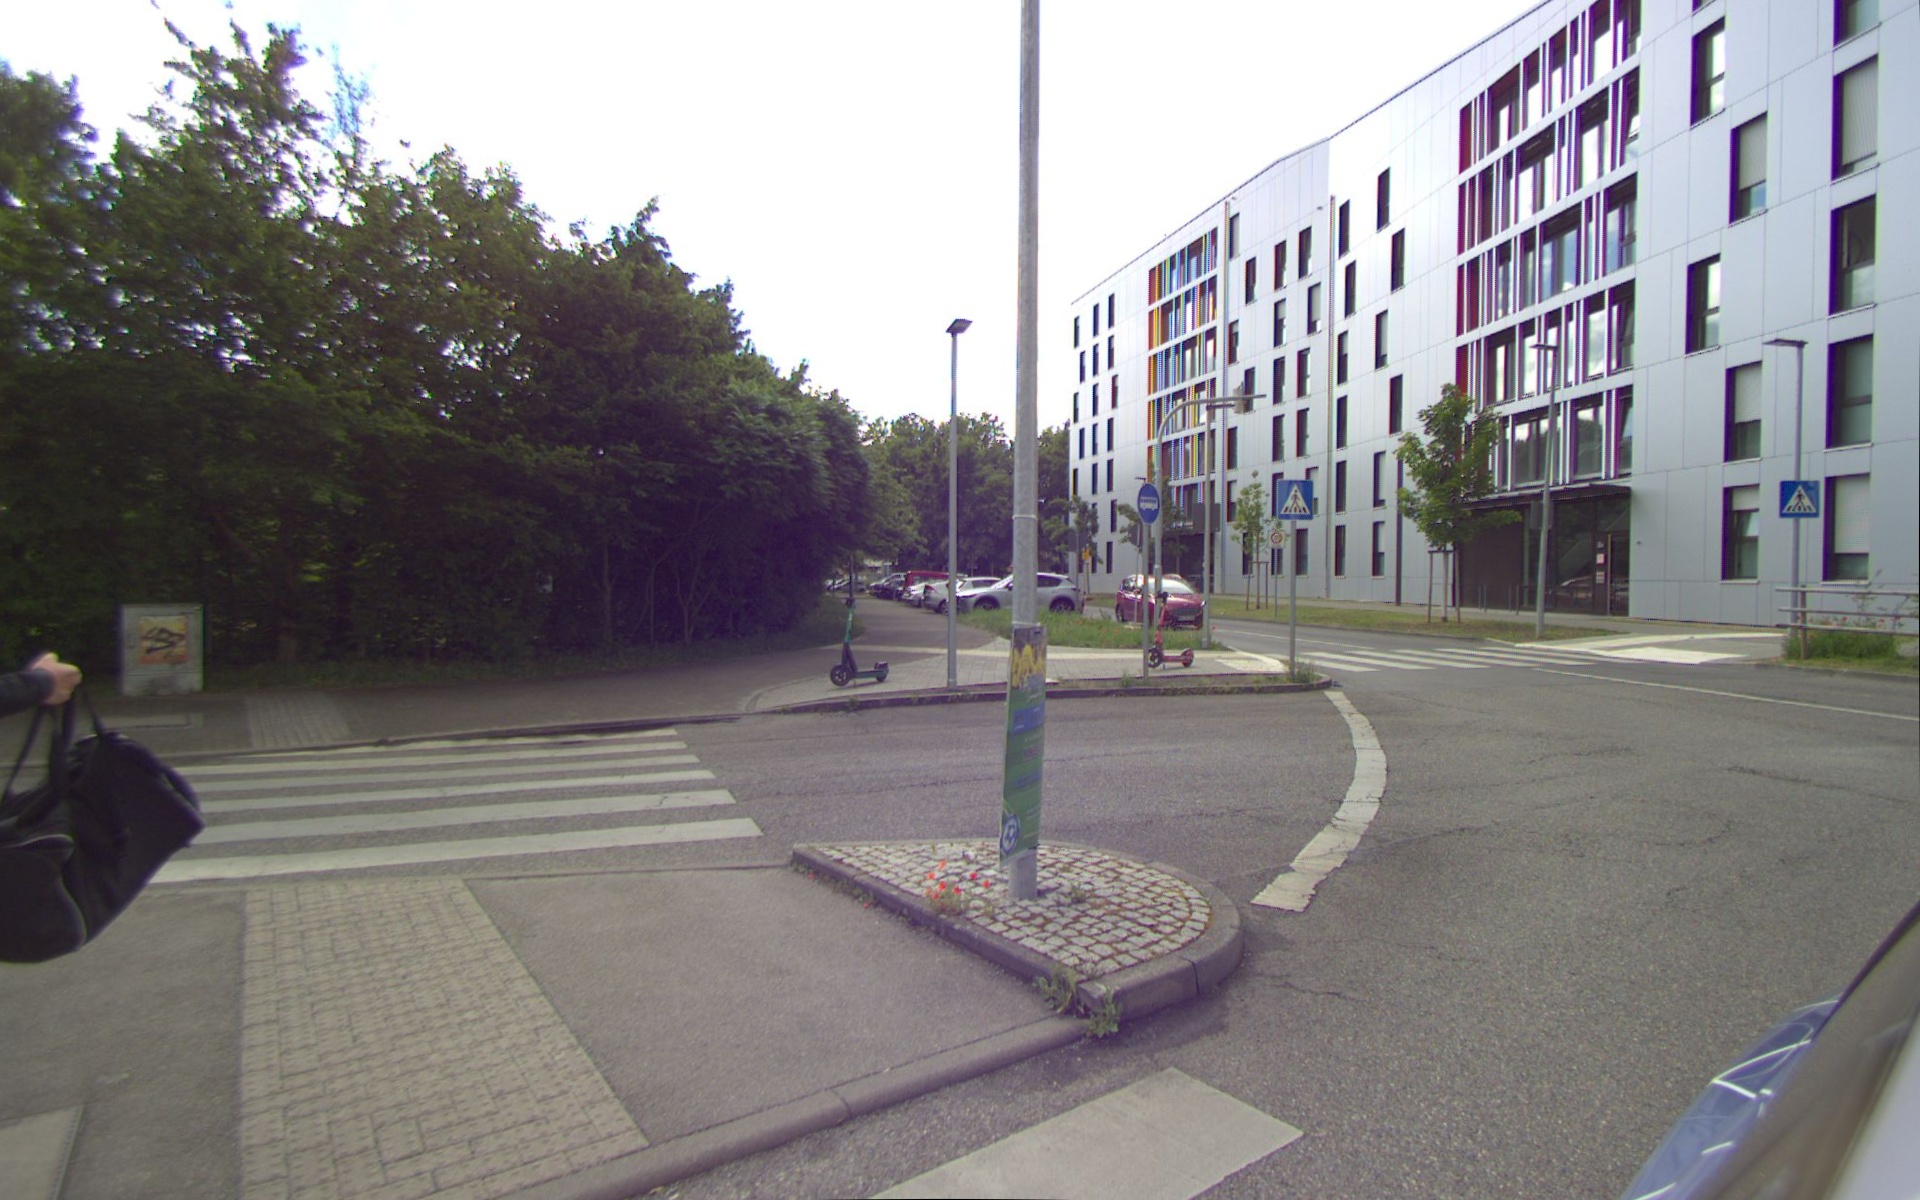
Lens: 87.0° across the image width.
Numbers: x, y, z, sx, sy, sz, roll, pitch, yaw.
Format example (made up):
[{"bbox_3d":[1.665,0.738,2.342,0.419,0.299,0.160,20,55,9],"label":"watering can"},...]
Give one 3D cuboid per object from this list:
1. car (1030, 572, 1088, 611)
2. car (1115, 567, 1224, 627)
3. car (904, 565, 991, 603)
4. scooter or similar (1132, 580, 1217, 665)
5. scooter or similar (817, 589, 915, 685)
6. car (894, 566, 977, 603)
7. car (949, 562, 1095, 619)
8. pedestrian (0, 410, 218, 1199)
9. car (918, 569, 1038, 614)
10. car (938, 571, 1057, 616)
[{"bbox_3d":[4.448,-0.439,45.958,1.782,1.638,4.006,-1,2,-6],"label":"car"},{"bbox_3d":[6.314,-0.148,30.982,1.895,1.651,4.250,-2,2,-8],"label":"car"},{"bbox_3d":[-0.672,-0.829,52.398,4.206,1.916,1.841,1,1,-9],"label":"car"},{"bbox_3d":[3.543,0.343,16.690,1.498,1.329,0.572,-1,1,-40],"label":"scooter or similar"},{"bbox_3d":[-1.367,0.511,15.000,0.618,1.290,1.477,0,2,36],"label":"scooter or similar"},{"bbox_3d":[-1.432,-0.880,57.752,4.471,1.923,1.887,2,1,-9],"label":"car"},{"bbox_3d":[2.097,-0.326,34.821,4.566,1.774,2.074,2,0,-12],"label":"car"},{"bbox_3d":[-2.323,0.532,2.101,0.937,1.769,1.064,-1,1,-17],"label":"pedestrian"},{"bbox_3d":[0.685,-0.338,39.793,4.399,1.582,1.915,1,1,-9],"label":"car"},{"bbox_3d":[1.354,-0.249,37.482,4.082,1.606,1.799,0,1,-9],"label":"car"}]
